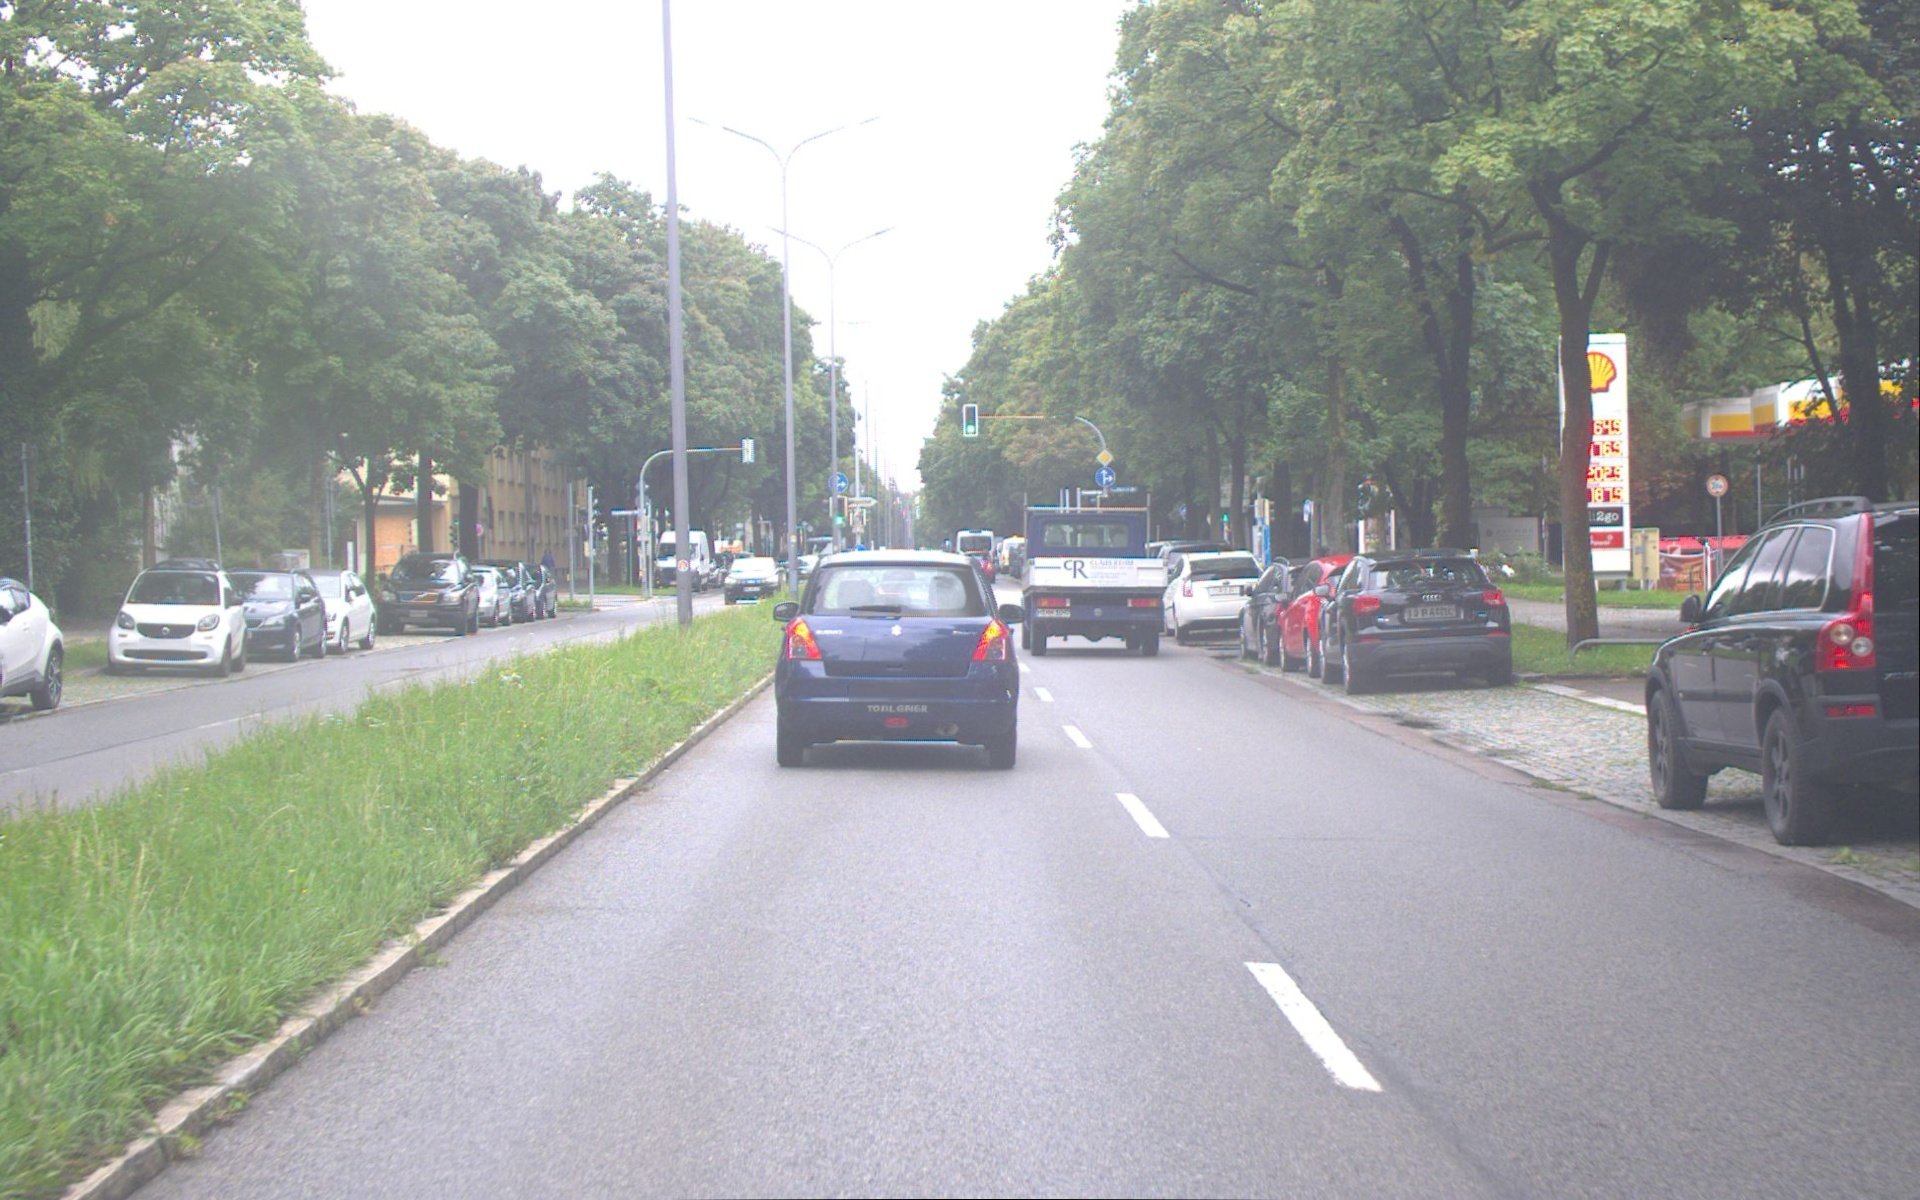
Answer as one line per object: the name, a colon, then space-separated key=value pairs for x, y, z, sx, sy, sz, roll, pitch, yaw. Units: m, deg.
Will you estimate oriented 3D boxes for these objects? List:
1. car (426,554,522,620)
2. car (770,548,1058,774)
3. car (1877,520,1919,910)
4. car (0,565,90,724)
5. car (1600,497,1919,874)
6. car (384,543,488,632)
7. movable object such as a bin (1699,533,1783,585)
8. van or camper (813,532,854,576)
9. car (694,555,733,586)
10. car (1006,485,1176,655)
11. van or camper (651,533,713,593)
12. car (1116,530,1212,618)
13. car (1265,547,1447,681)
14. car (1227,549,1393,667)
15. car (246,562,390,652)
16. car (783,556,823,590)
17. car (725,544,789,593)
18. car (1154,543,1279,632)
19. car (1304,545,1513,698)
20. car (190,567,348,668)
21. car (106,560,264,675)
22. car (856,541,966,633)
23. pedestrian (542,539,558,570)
car: x=-11.425 y=-0.322 z=81.008 sx=1.666 sy=1.440 sz=4.375 roll=2 pitch=1 yaw=-1
car: x=-0.404 y=0.379 z=24.884 sx=1.896 sy=1.494 sz=3.661 roll=-1 pitch=1 yaw=-3
car: x=4.949 y=0.502 z=12.896 sx=1.813 sy=1.670 sz=4.800 roll=-2 pitch=1 yaw=2
car: x=-10.907 y=0.448 z=37.149 sx=1.832 sy=1.604 sz=4.491 roll=1 pitch=1 yaw=0
car: x=4.975 y=0.347 z=18.931 sx=1.892 sy=1.794 sz=4.862 roll=-2 pitch=1 yaw=-1
car: x=-11.257 y=-0.299 z=74.056 sx=1.796 sy=1.757 sz=5.059 roll=2 pitch=1 yaw=-4
movable object such as a bin: x=23.269 y=-1.225 z=102.478 sx=2.060 sy=1.481 sz=1.837 roll=-1 pitch=1 yaw=0
van or camper: x=-6.613 y=-2.438 z=180.766 sx=2.023 sy=2.253 sz=6.022 roll=-2 pitch=1 yaw=-1
car: x=-12.119 y=-1.477 z=169.141 sx=1.636 sy=1.437 sz=3.735 roll=-2 pitch=1 yaw=0
car: x=1.926 y=-0.473 z=51.897 sx=2.419 sy=2.436 sz=5.086 roll=0 pitch=1 yaw=1
van or camper: x=-12.015 y=-1.616 z=148.929 sx=2.140 sy=2.467 sz=6.259 roll=-2 pitch=1 yaw=0
car: x=4.537 y=-0.606 z=76.974 sx=1.760 sy=1.824 sz=4.528 roll=-3 pitch=1 yaw=-1
car: x=4.858 y=0.139 z=42.636 sx=1.675 sy=1.496 sz=4.021 roll=-3 pitch=1 yaw=-1
car: x=4.737 y=0.069 z=47.059 sx=1.675 sy=1.449 sz=4.583 roll=-3 pitch=1 yaw=-1
car: x=-11.271 y=0.099 z=60.581 sx=1.674 sy=1.438 sz=4.320 roll=2 pitch=1 yaw=0
car: x=-7.052 y=-1.241 z=155.035 sx=1.737 sy=1.437 sz=4.103 roll=-2 pitch=1 yaw=-2
car: x=-6.316 y=-0.992 z=107.520 sx=1.739 sy=1.435 sz=4.215 roll=-1 pitch=1 yaw=0
car: x=4.526 y=-0.250 z=61.305 sx=1.760 sy=1.449 sz=4.633 roll=-3 pitch=1 yaw=-1
car: x=4.914 y=0.194 z=38.174 sx=1.779 sy=1.506 sz=4.285 roll=-3 pitch=1 yaw=1
car: x=-11.105 y=0.258 z=55.486 sx=1.674 sy=1.470 sz=4.215 roll=2 pitch=1 yaw=0
car: x=-11.253 y=0.228 z=50.058 sx=1.690 sy=1.560 sz=3.080 roll=2 pitch=1 yaw=-3
car: x=-0.822 y=-0.250 z=59.045 sx=1.799 sy=1.494 sz=3.660 roll=-1 pitch=1 yaw=0
pedestrian: x=-19.156 y=-2.118 z=160.524 sx=0.629 sy=1.435 sz=0.806 roll=1 pitch=0 yaw=-1
